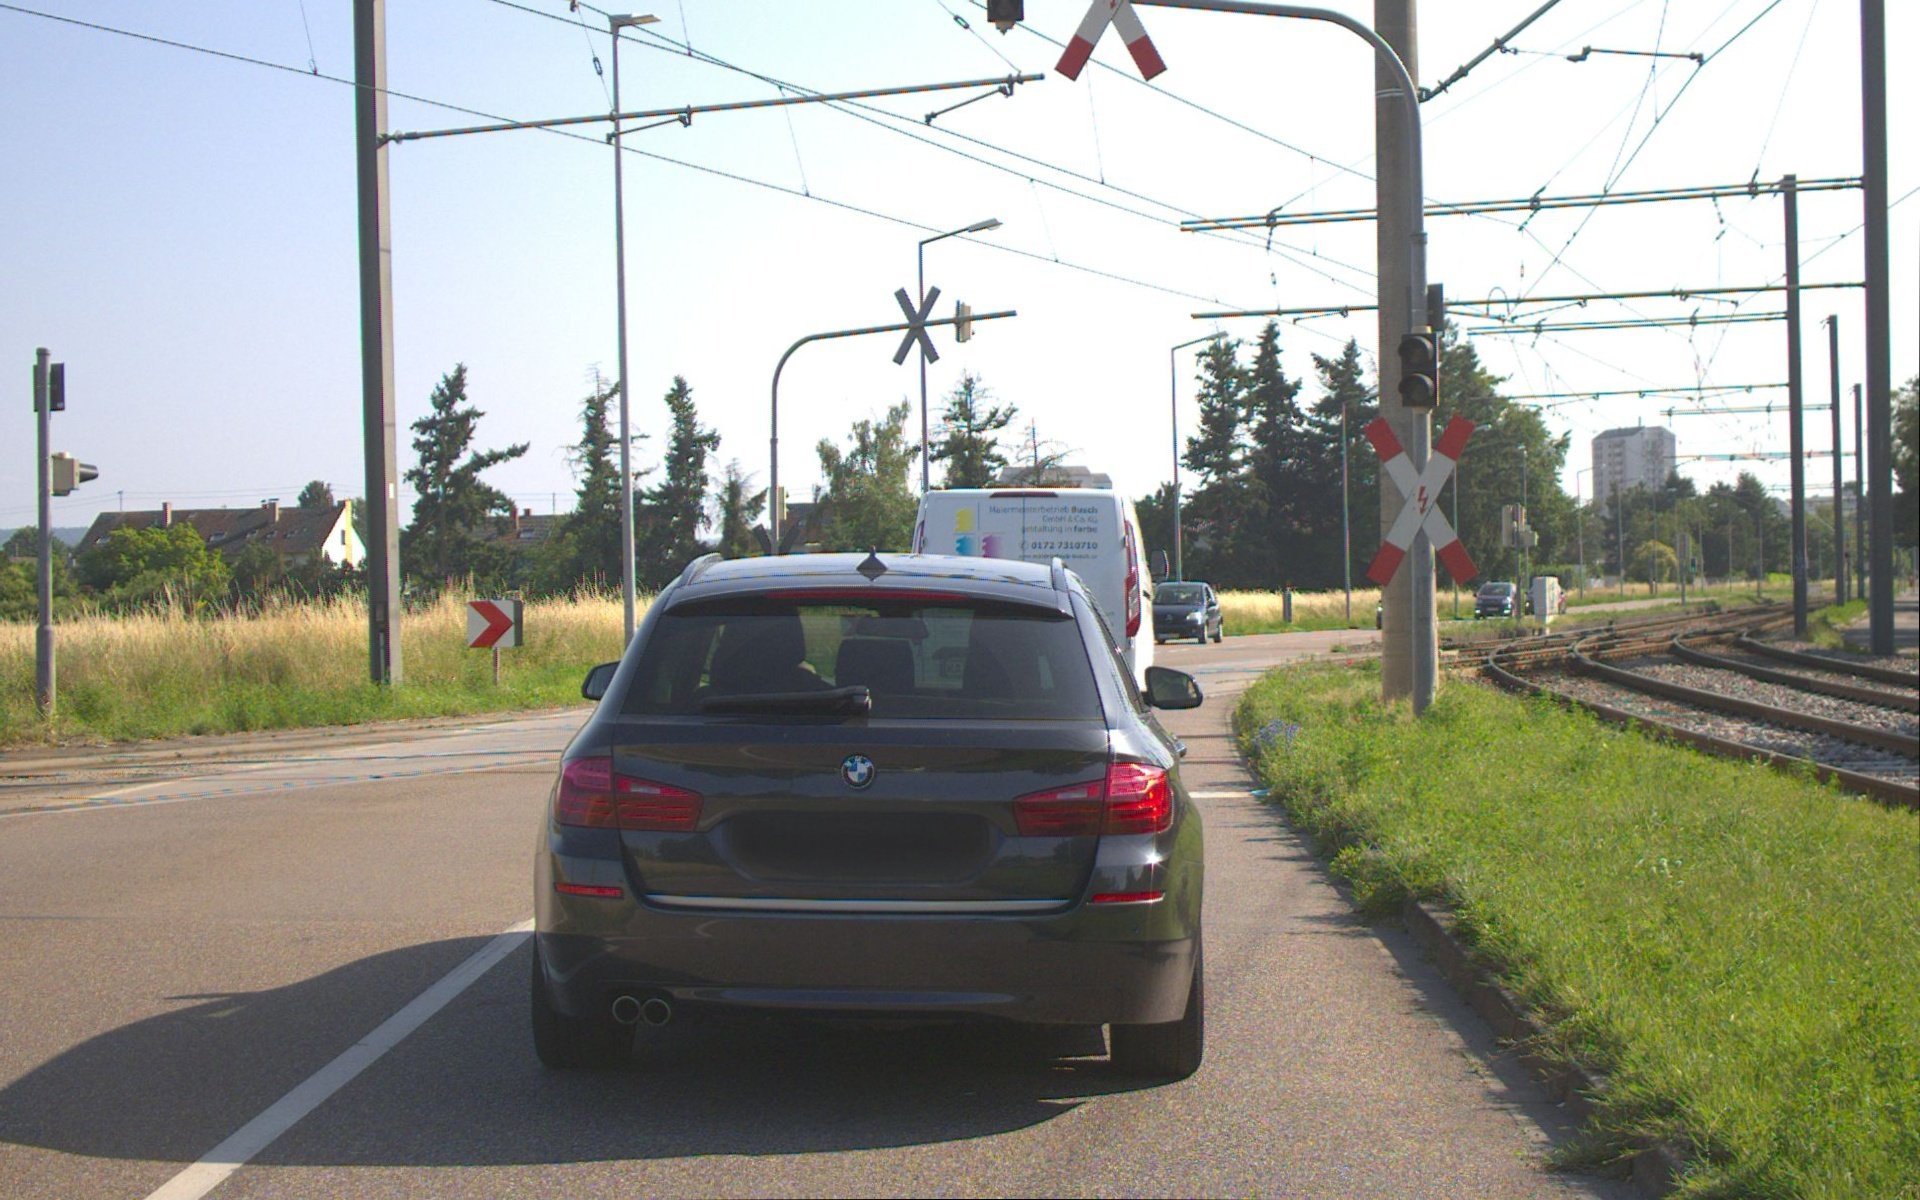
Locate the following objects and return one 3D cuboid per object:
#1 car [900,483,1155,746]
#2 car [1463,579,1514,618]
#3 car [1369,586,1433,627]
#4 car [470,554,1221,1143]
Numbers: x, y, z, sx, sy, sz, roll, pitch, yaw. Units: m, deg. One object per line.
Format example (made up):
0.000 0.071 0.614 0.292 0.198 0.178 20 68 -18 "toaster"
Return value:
0.648 0.085 28.479 1.858 1.981 5.107 0 1 4 "car"
23.414 -0.087 152.234 1.707 1.659 4.586 0 0 15 "car"
15.913 0.229 123.986 1.694 1.435 4.280 0 1 15 "car"
-0.299 0.588 10.935 1.869 1.447 4.744 0 1 0 "car"
